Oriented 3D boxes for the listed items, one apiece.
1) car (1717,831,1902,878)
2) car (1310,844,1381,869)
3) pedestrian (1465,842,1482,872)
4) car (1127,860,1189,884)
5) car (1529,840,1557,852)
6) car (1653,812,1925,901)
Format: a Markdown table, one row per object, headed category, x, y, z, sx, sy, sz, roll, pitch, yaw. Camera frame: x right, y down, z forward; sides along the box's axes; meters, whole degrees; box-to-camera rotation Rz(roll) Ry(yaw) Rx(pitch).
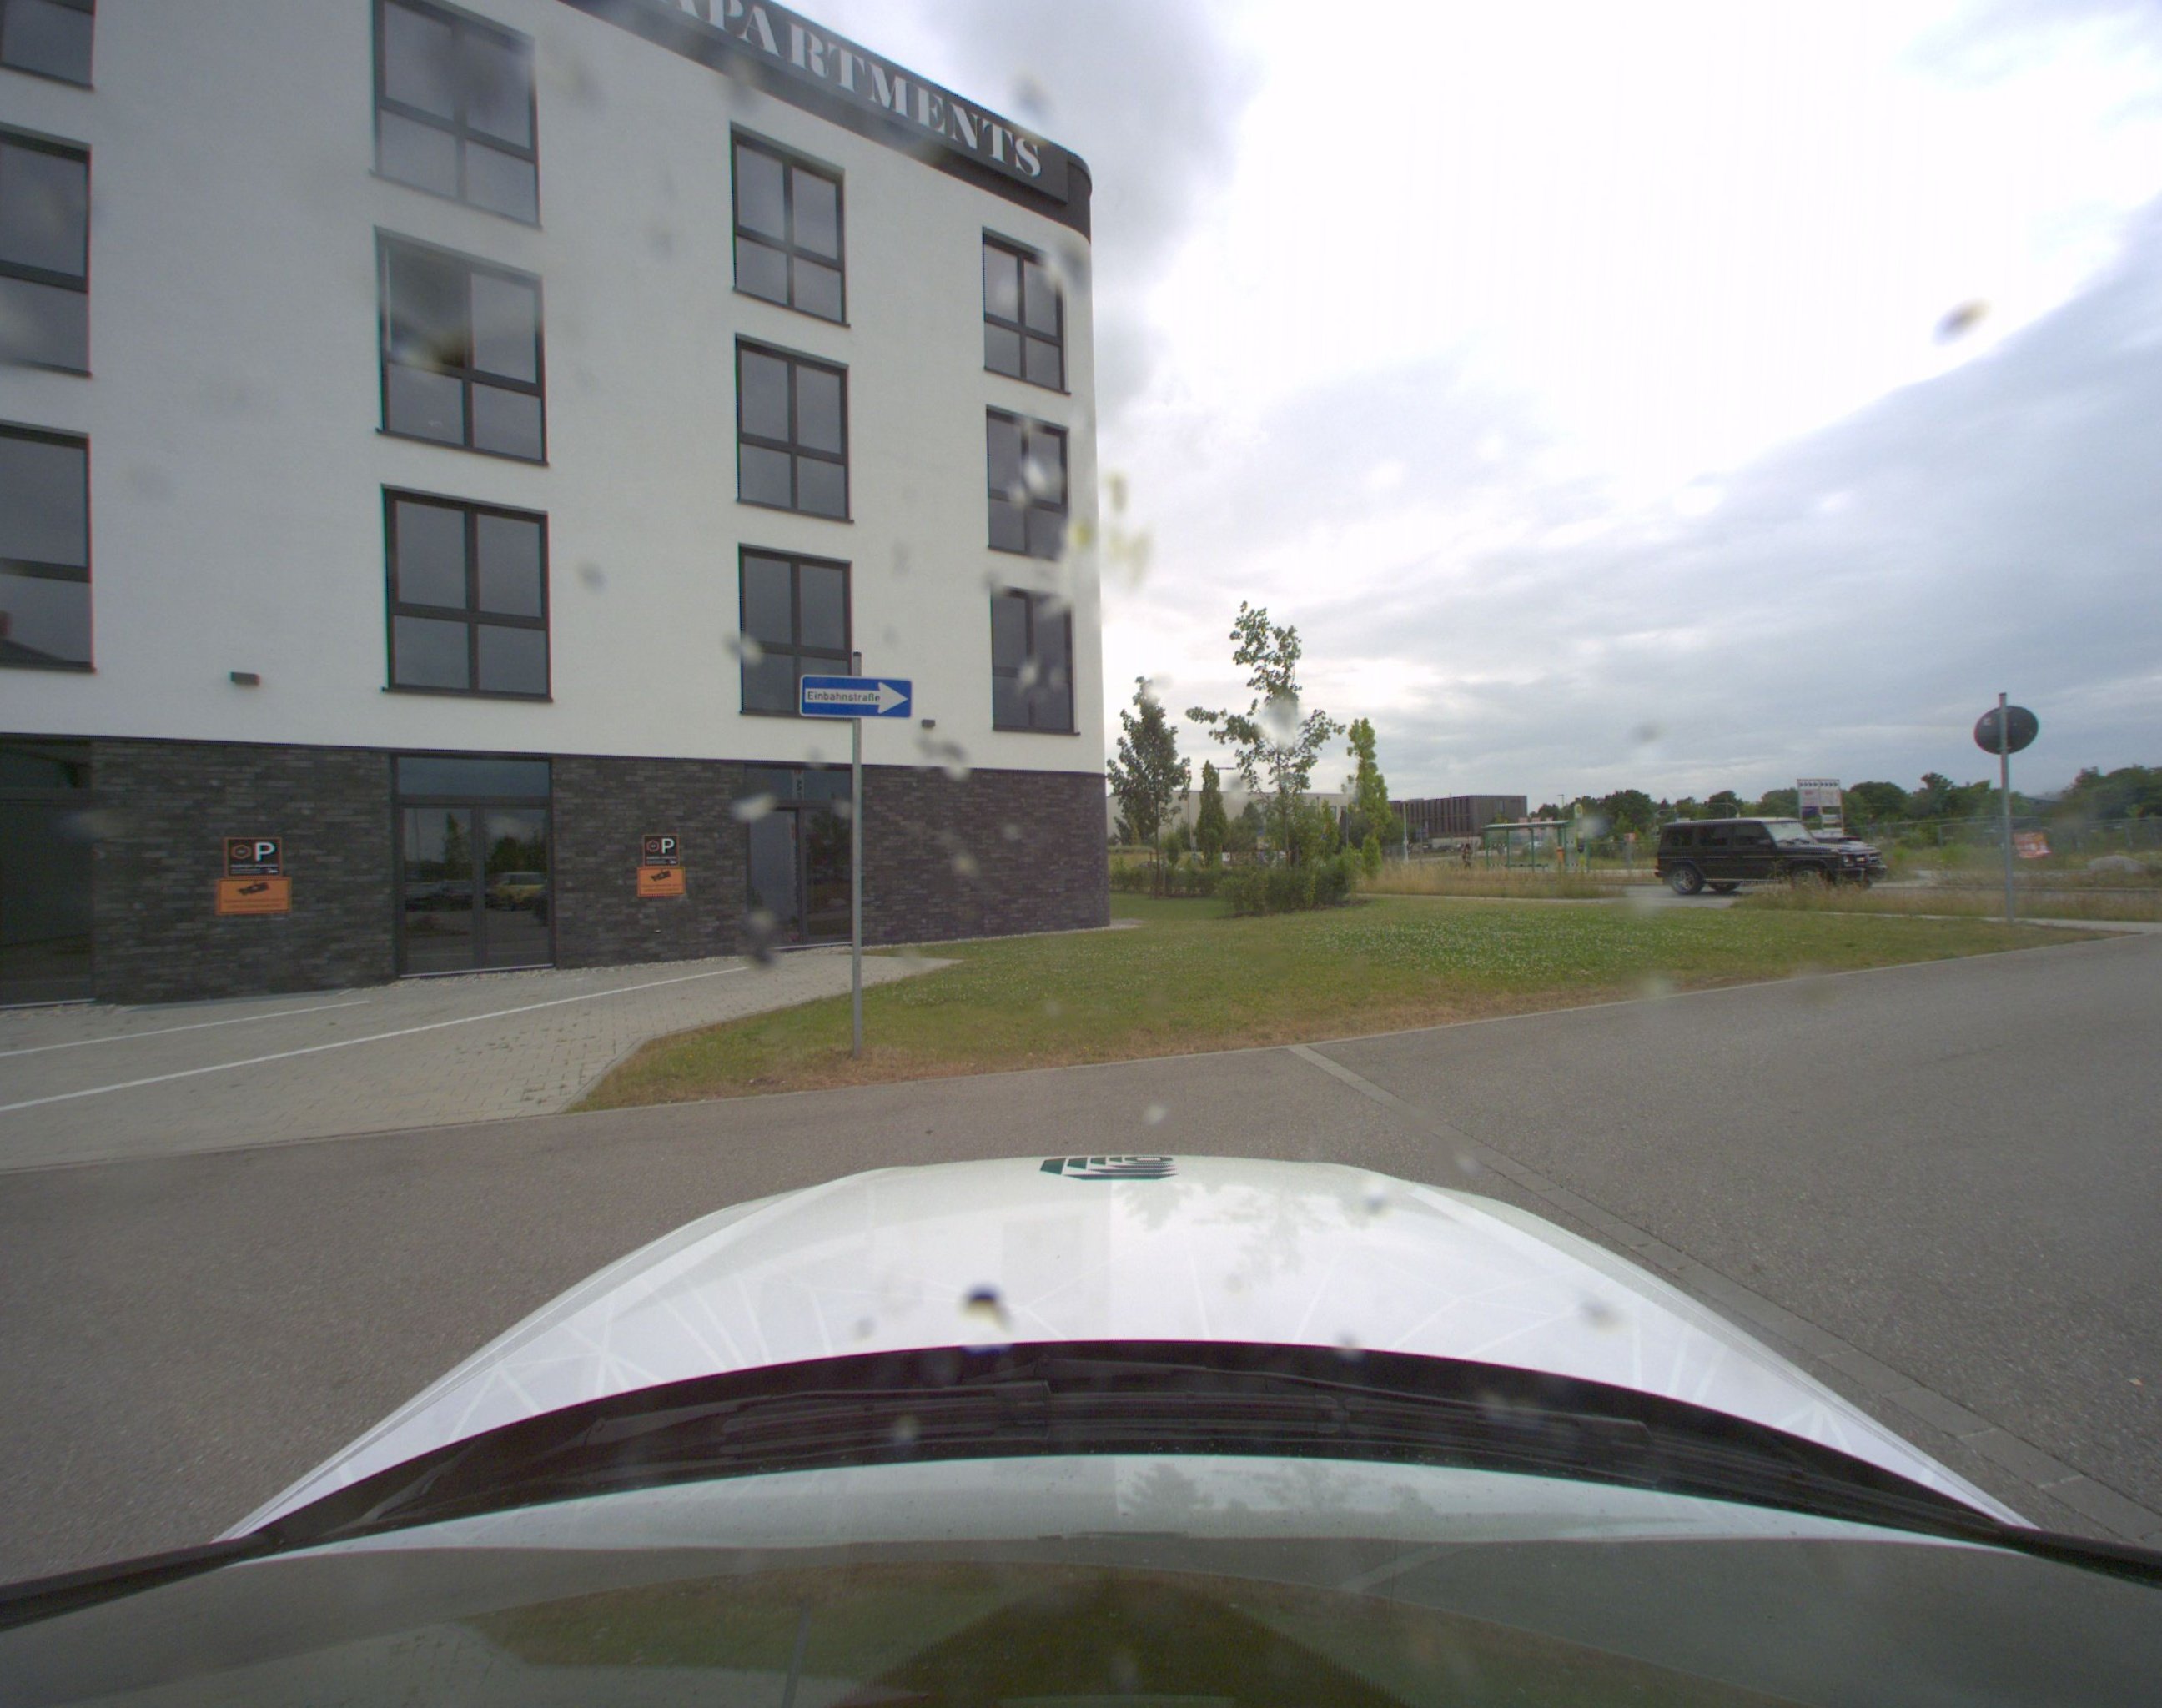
| category | x | y | z | sx | sy | sz | roll | pitch | yaw |
| --- | --- | --- | --- | --- | --- | --- | --- | --- | --- |
| car | 22.869 | 0.012 | 25.774 | 1.719 | 1.343 | 4.036 | -1 | 0 | -21 |
| car | 15.039 | 0.130 | 46.504 | 1.719 | 1.343 | 3.936 | -1 | 0 | -21 |
| pedestrian | 22.666 | 0.181 | 47.051 | 0.735 | 1.722 | 0.653 | -1 | 0 | 15 |
| car | 4.677 | 1.083 | 49.927 | 1.763 | 1.386 | 4.263 | -2 | 0 | -27 |
| car | 63.414 | -1.108 | 111.810 | 3.650 | 1.486 | 1.666 | -2 | 0 | -27 |
| car | 17.444 | 0.024 | 20.446 | 1.999 | 1.923 | 4.818 | -2 | 1 | -18 |
